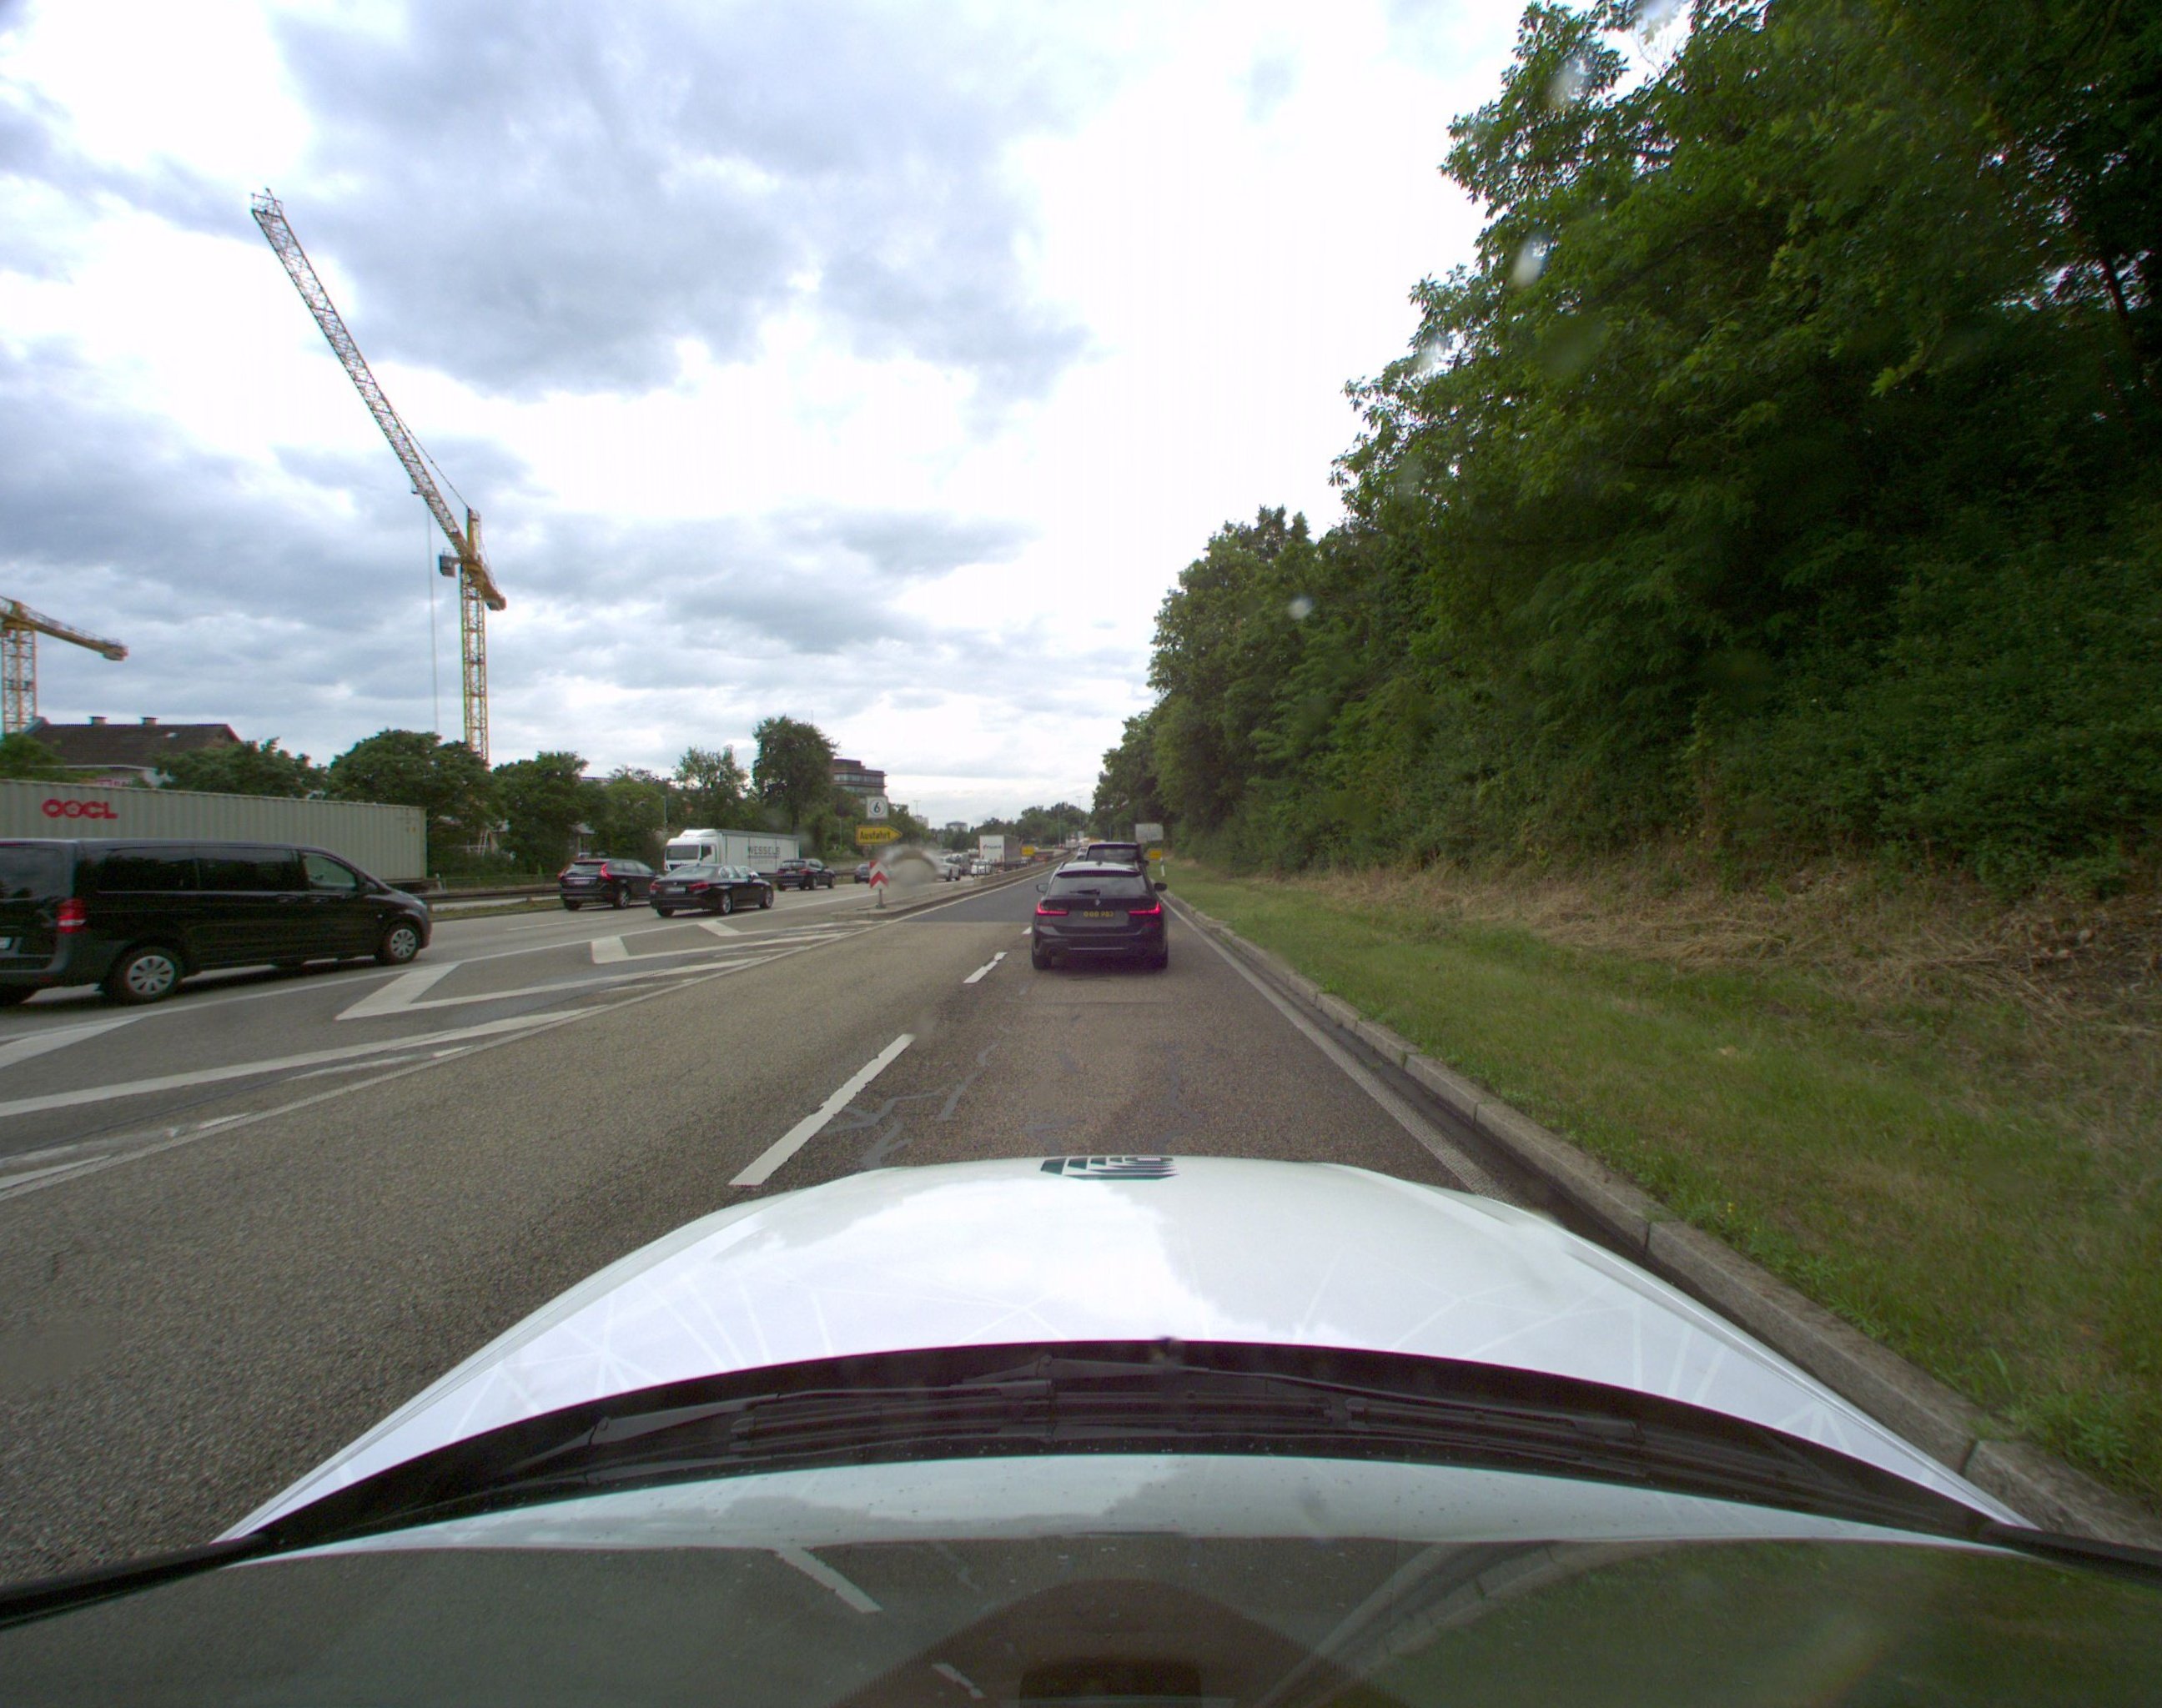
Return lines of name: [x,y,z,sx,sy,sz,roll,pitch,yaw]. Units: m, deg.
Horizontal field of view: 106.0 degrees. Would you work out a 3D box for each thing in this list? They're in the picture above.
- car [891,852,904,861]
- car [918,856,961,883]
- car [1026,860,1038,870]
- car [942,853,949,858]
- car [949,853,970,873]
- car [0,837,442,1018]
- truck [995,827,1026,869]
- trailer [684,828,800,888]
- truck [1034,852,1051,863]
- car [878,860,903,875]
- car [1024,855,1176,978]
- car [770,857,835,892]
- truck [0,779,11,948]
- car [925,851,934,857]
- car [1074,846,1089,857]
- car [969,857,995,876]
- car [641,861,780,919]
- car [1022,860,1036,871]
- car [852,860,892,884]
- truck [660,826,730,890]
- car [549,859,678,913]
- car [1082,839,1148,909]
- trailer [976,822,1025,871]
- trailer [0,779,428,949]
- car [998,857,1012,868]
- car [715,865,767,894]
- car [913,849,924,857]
car: [-32.268,0.378,143.435,1.432,1.574,3.245,-1,0,2]
car: [-9.394,0.987,54.362,1.939,1.692,4.509,-1,0,2]
car: [-7.588,1.753,126.162,1.442,1.490,3.064,-1,0,3]
car: [-36.382,0.381,219.182,1.431,1.497,3.160,-1,0,-3]
car: [-13.282,0.941,89.068,1.437,2.044,3.683,-1,0,3]
car: [-11.387,0.773,10.781,1.987,1.851,4.812,-1,0,1]
truck: [-8.069,-0.676,93.861,3.072,4.698,4.234,0,0,2]
trailer: [-25.177,0.287,61.700,2.584,3.982,13.788,-1,0,2]
truck: [-8.978,0.833,189.338,3.262,2.509,7.663,-1,0,2]
car: [-20.132,1.453,86.169,1.671,1.478,3.709,-1,0,1]
car: [0.252,0.769,11.962,1.840,1.467,4.000,-1,0,0]
car: [-14.644,1.060,43.073,1.884,1.681,4.307,-1,0,1]
truck: [-26.936,0.250,17.532,2.396,4.020,4.002,-1,0,2]
car: [-33.738,-0.012,181.038,1.433,1.446,3.243,-1,0,0]
car: [0.110,-0.342,115.576,1.922,1.596,3.880,-1,0,3]
car: [-8.576,1.022,70.608,1.762,1.549,3.493,-1,0,1]
car: [-10.630,0.975,23.784,1.706,1.457,4.670,-1,0,3]
car: [-7.394,1.670,115.944,1.695,1.528,3.471,-1,0,2]
car: [-14.647,1.219,57.275,1.681,1.608,4.008,0,0,1]
truck: [-25.422,0.276,53.807,2.586,3.990,4.001,-1,0,2]
car: [-15.644,1.016,27.543,1.745,1.635,4.269,-1,0,2]
car: [1.008,0.547,24.142,1.789,1.872,4.002,-1,0,2]
trailer: [-8.315,-0.705,86.277,3.121,4.725,14.564,0,0,2]
trailer: [-26.648,0.261,24.865,2.388,4.029,13.085,-1,0,2]
car: [-11.156,1.248,119.054,1.579,1.532,3.471,-1,0,2]
car: [-20.938,1.546,50.233,1.591,1.584,3.565,-1,0,2]
car: [-32.676,-0.127,163.610,1.432,1.586,3.245,-1,0,2]
